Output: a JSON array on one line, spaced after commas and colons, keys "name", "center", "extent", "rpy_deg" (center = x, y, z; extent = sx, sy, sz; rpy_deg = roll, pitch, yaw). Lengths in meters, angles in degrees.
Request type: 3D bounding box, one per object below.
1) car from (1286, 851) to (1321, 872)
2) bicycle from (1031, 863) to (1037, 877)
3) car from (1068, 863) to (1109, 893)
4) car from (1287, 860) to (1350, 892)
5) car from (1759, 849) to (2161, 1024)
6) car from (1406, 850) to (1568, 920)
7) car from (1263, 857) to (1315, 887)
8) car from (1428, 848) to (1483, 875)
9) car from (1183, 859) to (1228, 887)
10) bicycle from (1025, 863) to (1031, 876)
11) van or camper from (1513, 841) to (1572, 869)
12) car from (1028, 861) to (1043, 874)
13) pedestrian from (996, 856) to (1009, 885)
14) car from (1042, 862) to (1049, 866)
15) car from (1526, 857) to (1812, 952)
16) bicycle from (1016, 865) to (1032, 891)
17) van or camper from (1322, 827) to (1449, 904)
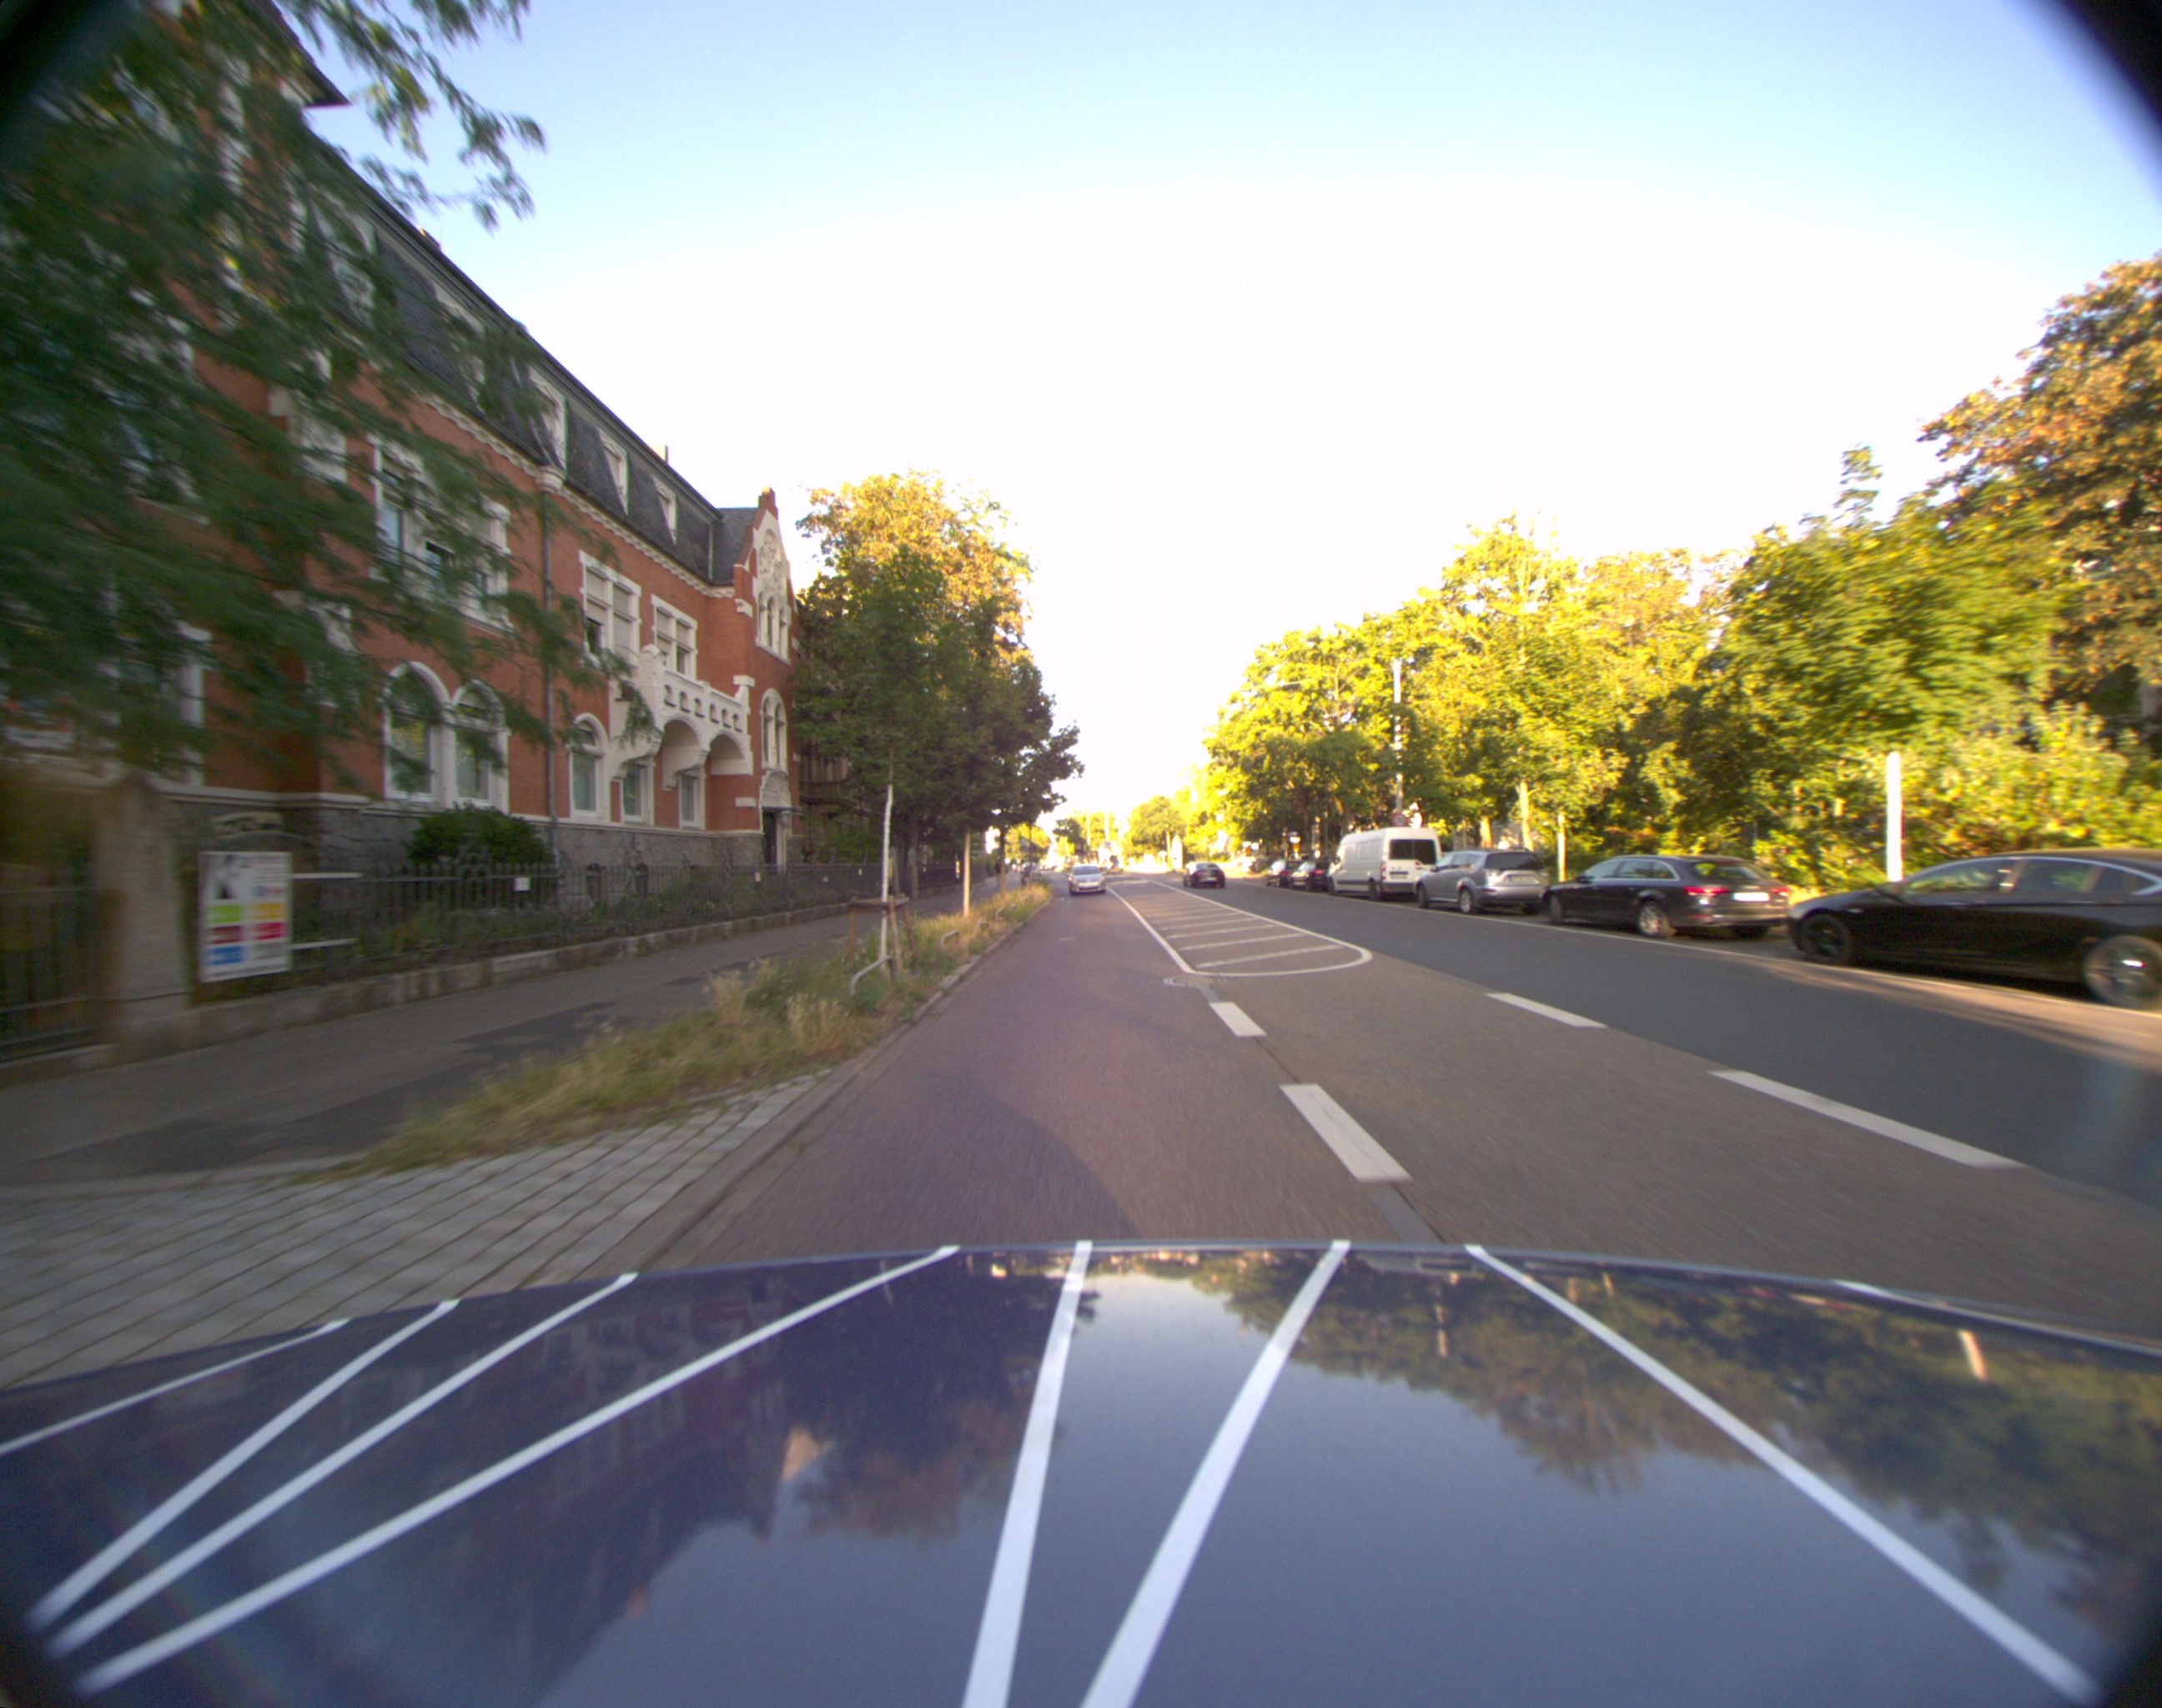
[{"name": "car", "center": [20.408, 0.692, 69.827], "extent": [1.823, 1.784, 3.999], "rpy_deg": [-2, 0, -3]}, {"name": "bicycle", "center": [-4.860, 1.631, 78.445], "extent": [0.567, 1.292, 2.263], "rpy_deg": [3, 1, -4]}, {"name": "car", "center": [0.337, 1.193, 39.293], "extent": [1.896, 1.454, 3.965], "rpy_deg": [-1, -1, -2]}, {"name": "car", "center": [11.001, 0.978, 35.512], "extent": [1.632, 1.421, 4.242], "rpy_deg": [0, 0, 0]}, {"name": "car", "center": [10.243, 0.708, 7.953], "extent": [1.998, 1.475, 4.829], "rpy_deg": [-1, 0, 1]}, {"name": "car", "center": [10.493, 0.748, 20.105], "extent": [1.870, 1.635, 4.571], "rpy_deg": [0, 0, 0]}, {"name": "car", "center": [11.083, 0.931, 40.732], "extent": [1.627, 1.498, 4.544], "rpy_deg": [-1, 0, 1]}, {"name": "car", "center": [28.561, 0.587, 58.044], "extent": [1.999, 1.870, 3.999], "rpy_deg": [-3, 0, -3]}, {"name": "car", "center": [6.735, 0.998, 41.432], "extent": [1.770, 1.394, 4.545], "rpy_deg": [-1, 0, 1]}, {"name": "bicycle", "center": [-5.439, 1.597, 78.400], "extent": [0.567, 1.268, 2.263], "rpy_deg": [3, 1, -4]}, {"name": "van or camper", "center": [42.560, 0.130, 70.286], "extent": [2.071, 2.457, 5.427], "rpy_deg": [-2, 0, -1]}, {"name": "car", "center": [-5.556, 1.626, 93.036], "extent": [1.682, 1.418, 3.675], "rpy_deg": [2, -1, -5]}, {"name": "pedestrian", "center": [-4.880, 1.008, 47.017], "extent": [0.748, 1.768, 0.831], "rpy_deg": [2, 0, -6]}, {"name": "car", "center": [-11.803, 3.386, 252.163], "extent": [1.948, 1.258, 4.162], "rpy_deg": [0, -1, -5]}, {"name": "car", "center": [10.484, 0.805, 14.105], "extent": [1.740, 1.437, 4.625], "rpy_deg": [-1, 0, 1]}, {"name": "bicycle", "center": [-2.747, 1.125, 36.612], "extent": [0.648, 1.160, 1.930], "rpy_deg": [-3, 0, -3]}, {"name": "van or camper", "center": [10.772, 0.390, 27.554], "extent": [2.096, 2.453, 6.306], "rpy_deg": [0, 0, 0]}]
